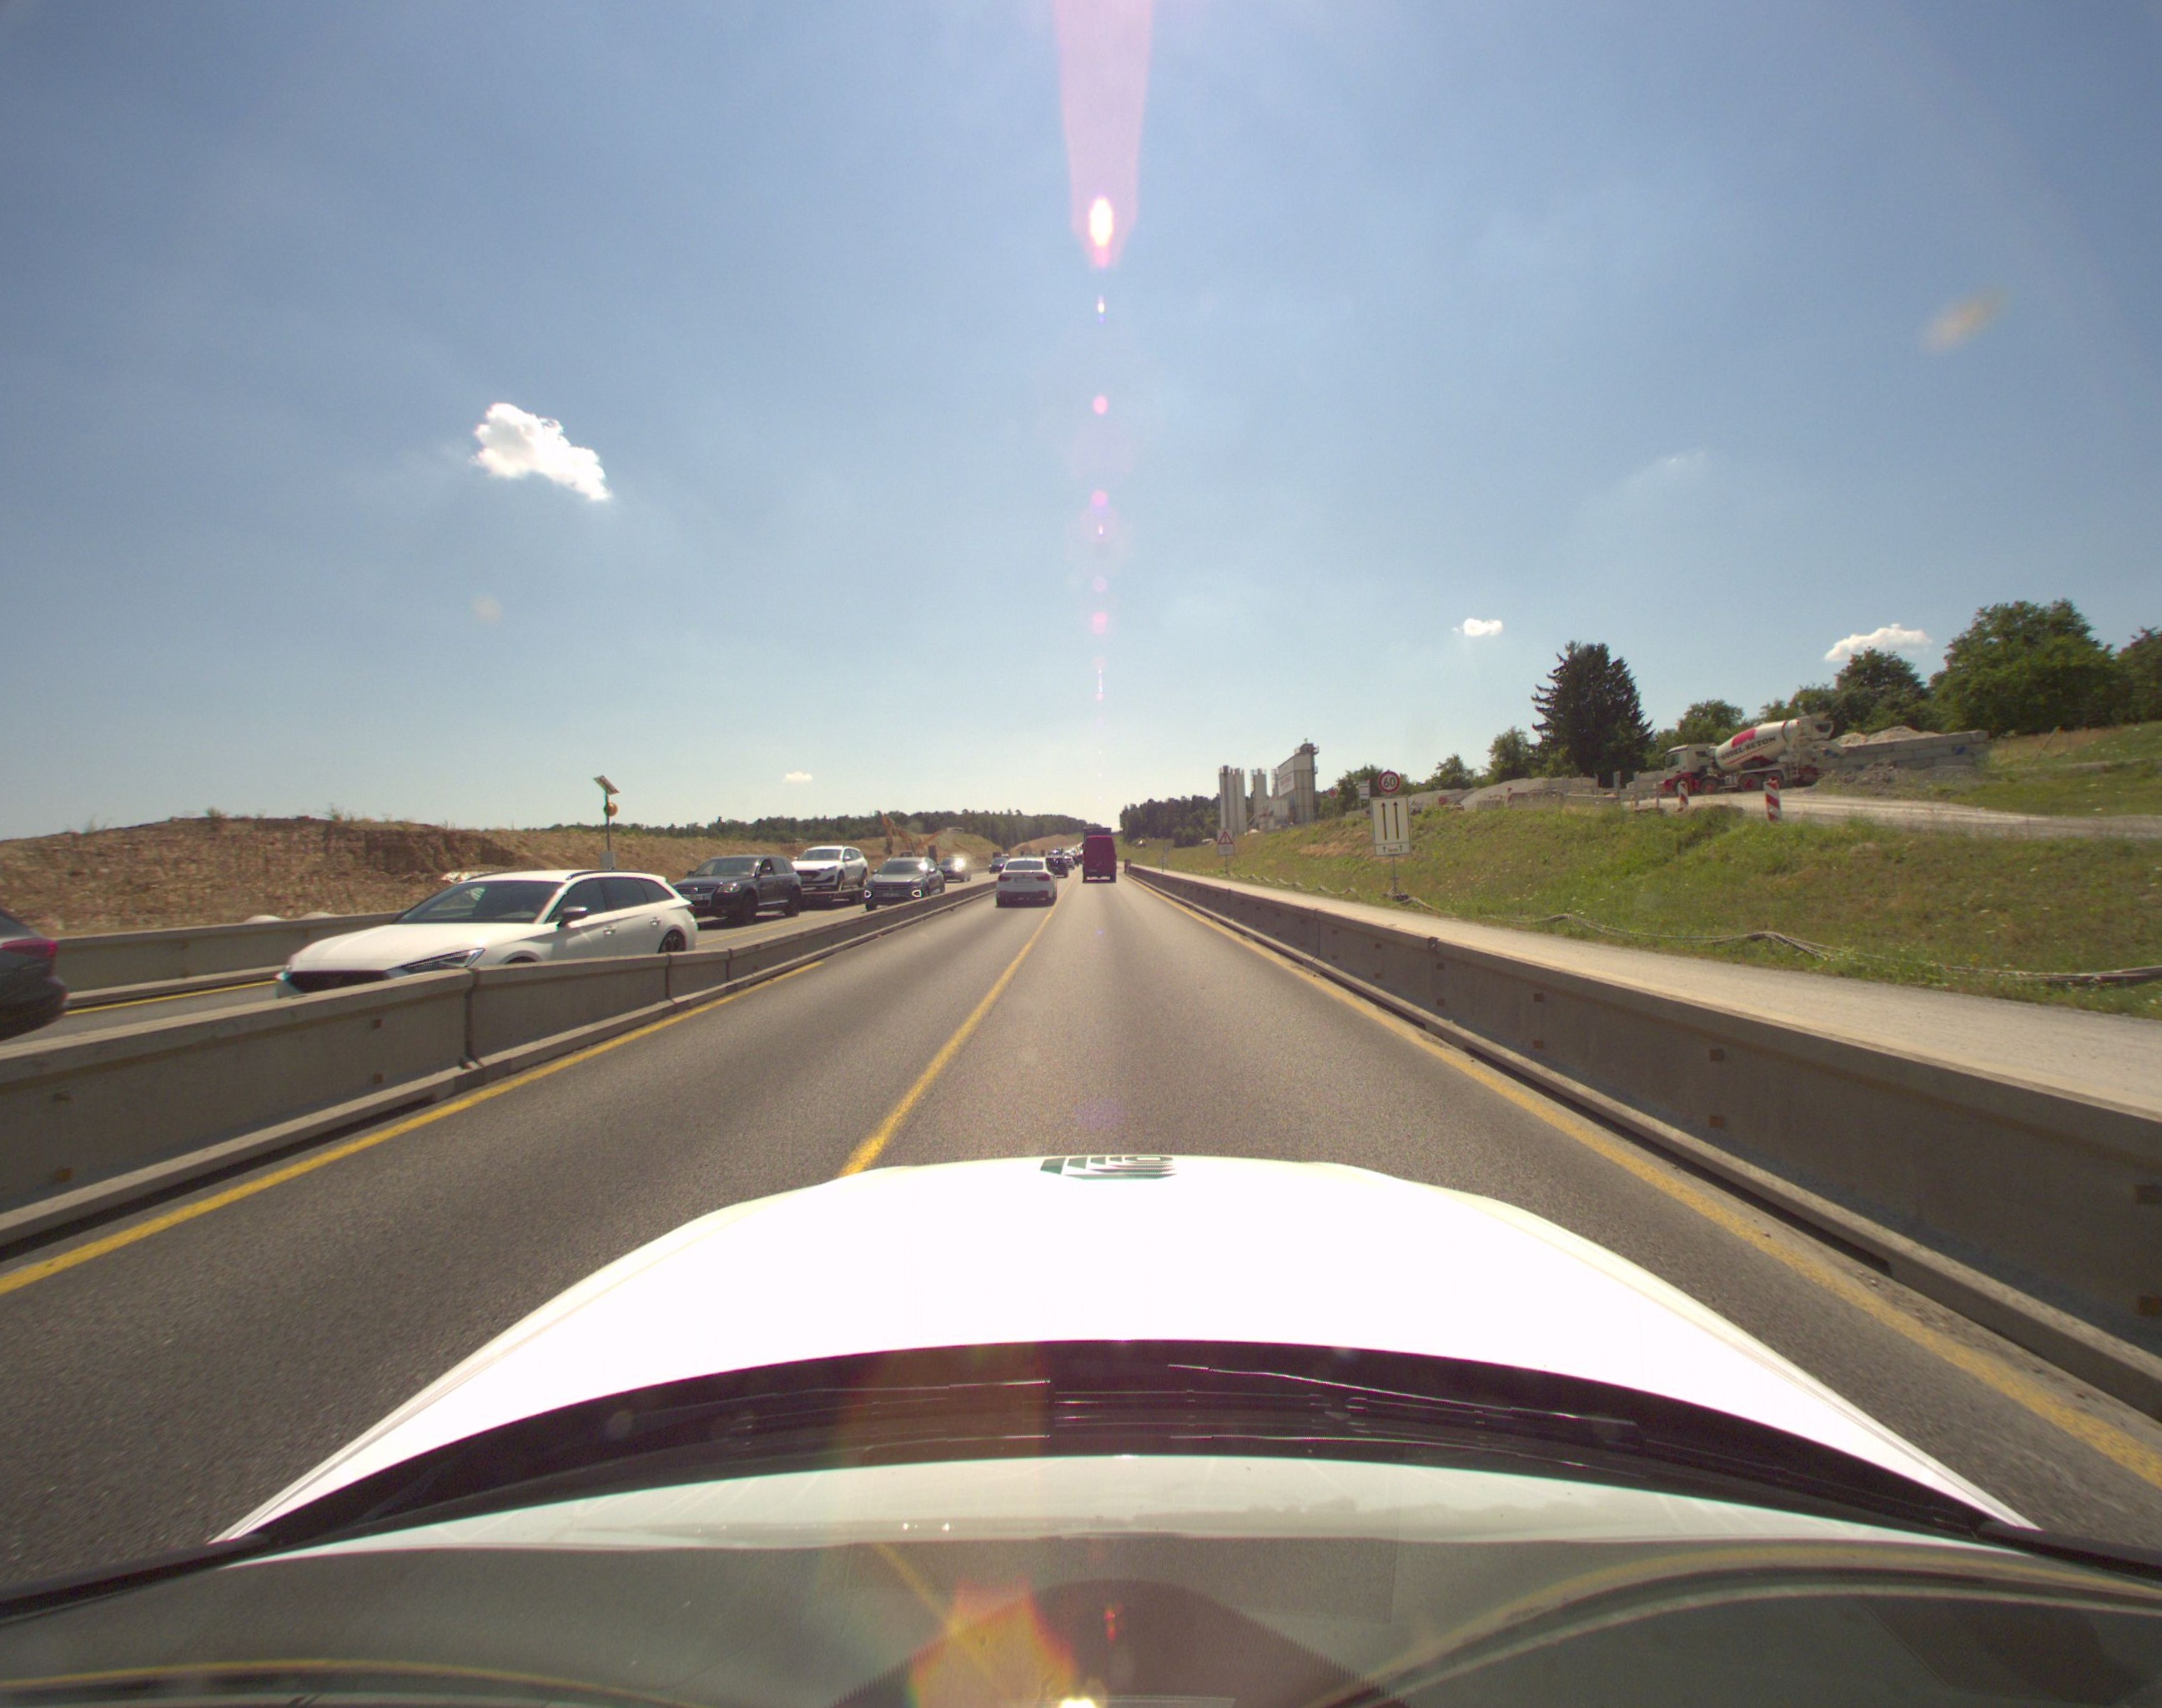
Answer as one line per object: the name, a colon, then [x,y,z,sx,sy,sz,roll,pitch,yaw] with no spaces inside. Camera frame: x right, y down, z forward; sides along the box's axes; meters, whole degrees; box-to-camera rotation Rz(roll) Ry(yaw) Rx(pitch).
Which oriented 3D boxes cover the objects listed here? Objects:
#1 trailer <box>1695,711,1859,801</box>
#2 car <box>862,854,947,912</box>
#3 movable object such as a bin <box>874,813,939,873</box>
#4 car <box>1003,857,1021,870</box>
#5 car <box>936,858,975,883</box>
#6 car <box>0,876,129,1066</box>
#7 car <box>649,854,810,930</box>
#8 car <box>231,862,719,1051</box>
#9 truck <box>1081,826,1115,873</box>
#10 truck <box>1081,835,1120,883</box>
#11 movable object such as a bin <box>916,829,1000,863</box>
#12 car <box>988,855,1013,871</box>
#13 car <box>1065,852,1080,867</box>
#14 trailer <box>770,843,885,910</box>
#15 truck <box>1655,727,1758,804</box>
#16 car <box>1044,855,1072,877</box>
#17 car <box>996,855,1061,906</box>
trailer: [38.192,-5.269,45.061,2.754,4.114,6.727,-2,0,-8]
car: [-5.297,0.824,24.986,1.689,1.579,4.132,-2,0,-1]
movable object such as a bin: [-23.139,-1.426,108.337,7.608,7.713,3.447,-2,0,2]
car: [-8.335,1.131,98.802,1.646,1.442,4.227,-2,0,1]
car: [-7.899,1.007,51.636,1.719,1.478,4.392,-2,0,0]
car: [-9.200,0.926,4.699,1.814,1.423,4.650,-2,0,2]
car: [-8.690,0.858,20.658,1.916,1.679,4.718,-1,0,1]
car: [-6.001,0.863,9.001,1.809,1.455,4.636,-2,0,1]
truck: [1.700,-0.412,78.836,3.004,4.153,8.274,-2,0,1]
truck: [1.156,0.288,49.608,2.104,2.633,6.485,-2,0,1]
movable object such as a bin: [-28.258,-1.911,187.739,18.660,7.231,3.613,-2,0,-2]
car: [-7.816,0.874,79.373,1.854,1.501,4.576,-2,0,1]
car: [-1.237,0.782,118.581,1.986,2.013,4.001,-2,0,1]
trailer: [-8.511,0.690,27.916,2.123,1.982,5.236,-2,0,1]
truck: [37.628,-5.259,49.146,2.743,4.095,4.089,-2,0,-8]
car: [-1.650,0.847,58.822,1.788,1.534,3.932,-2,0,1]
car: [-1.648,0.816,27.170,1.789,1.534,5.072,-1,0,0]
